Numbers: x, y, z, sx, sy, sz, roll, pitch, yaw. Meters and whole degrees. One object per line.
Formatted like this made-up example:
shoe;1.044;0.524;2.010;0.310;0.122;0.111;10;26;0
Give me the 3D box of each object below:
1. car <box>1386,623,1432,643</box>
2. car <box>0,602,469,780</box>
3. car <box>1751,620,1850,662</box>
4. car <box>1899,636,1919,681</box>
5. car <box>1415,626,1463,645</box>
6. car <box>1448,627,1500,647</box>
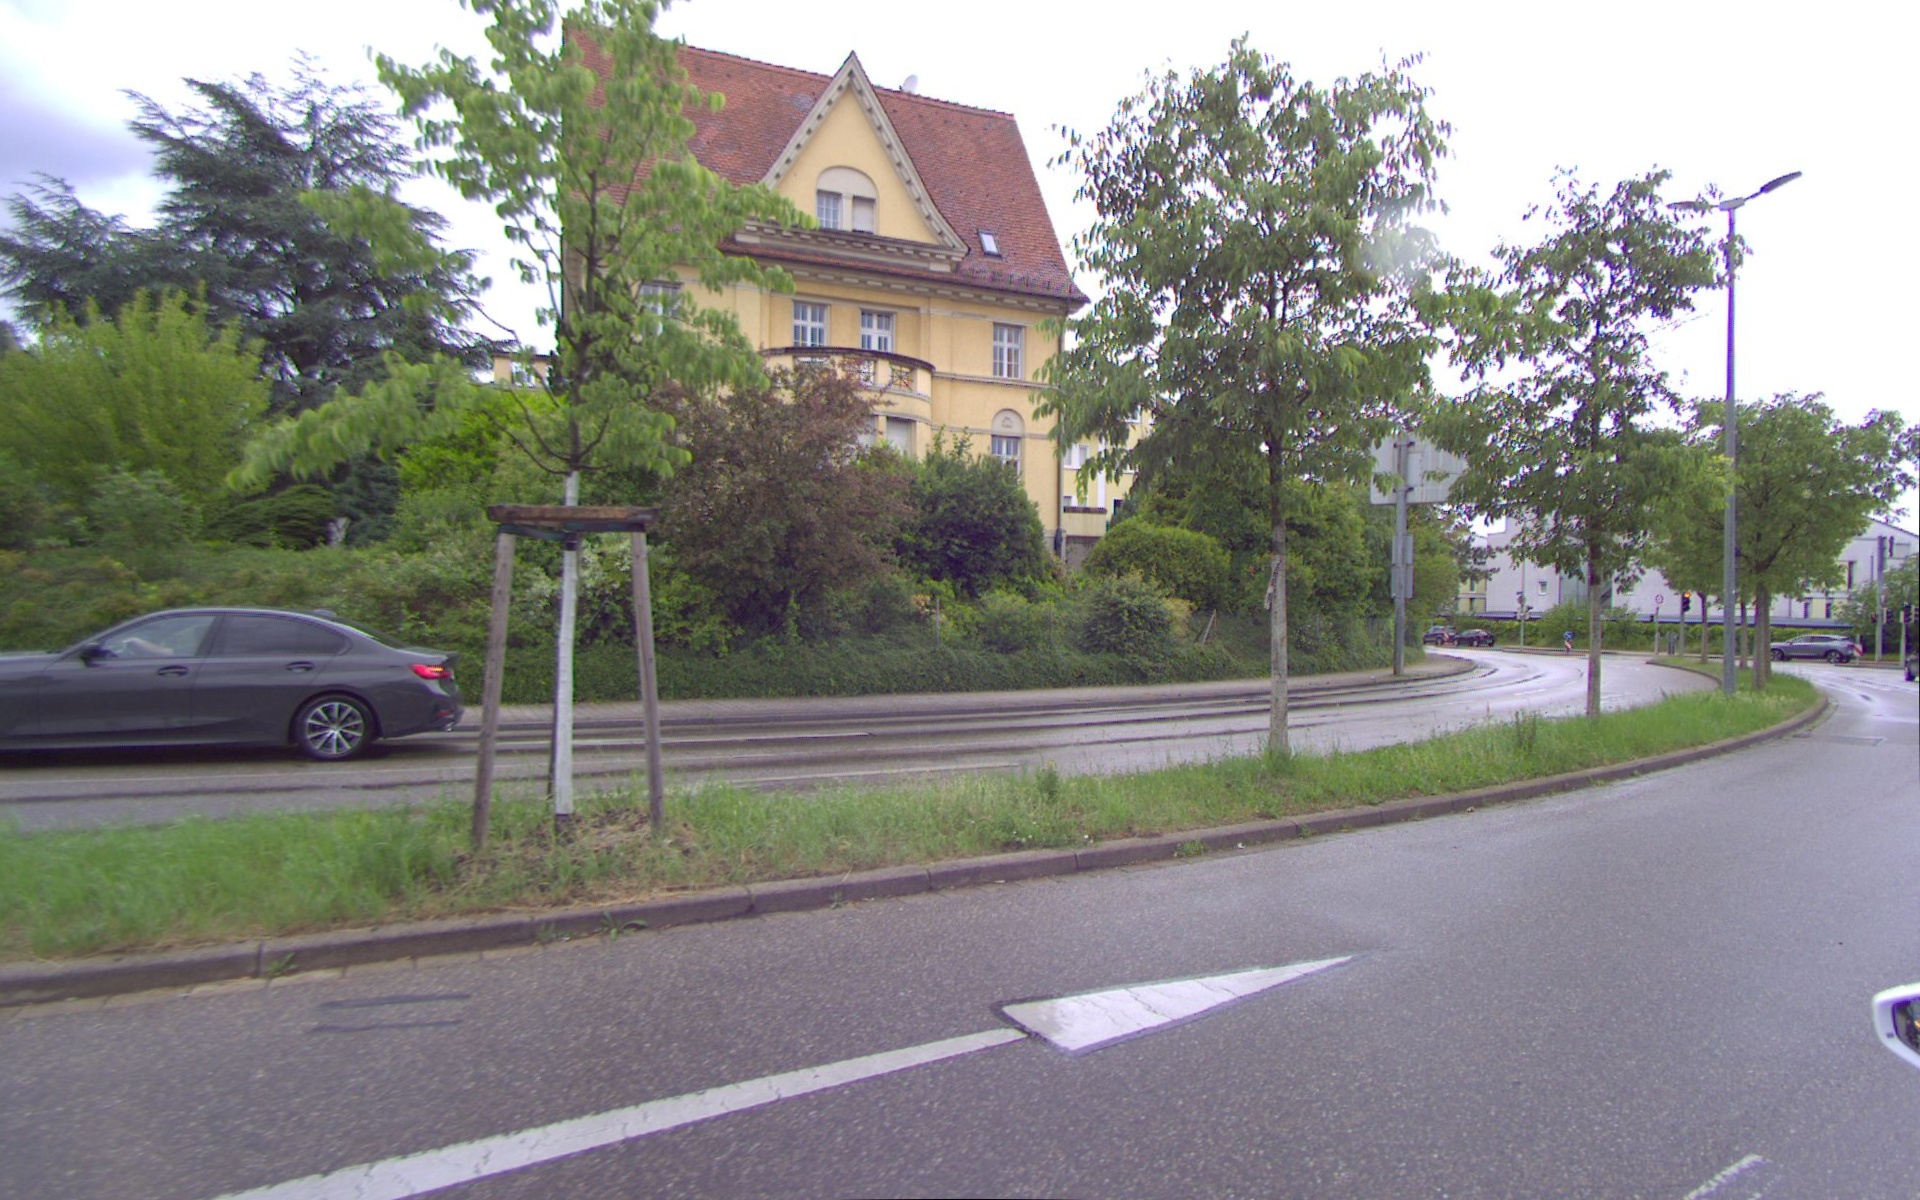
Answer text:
car;42.511;3.080;95.168;1.964;1.576;3.992;2;2;-10
car;-7.309;0.797;9.786;4.488;1.457;1.987;2;-1;-26
car;48.686;2.325;58.239;1.961;2.041;3.960;-1;3;-35
car;32.498;1.922;32.976;1.826;1.448;3.988;-1;-2;35
car;43.237;3.203;90.770;1.964;1.576;3.993;2;-1;-10
car;44.067;3.177;86.266;1.964;1.576;3.993;0;0;-10
